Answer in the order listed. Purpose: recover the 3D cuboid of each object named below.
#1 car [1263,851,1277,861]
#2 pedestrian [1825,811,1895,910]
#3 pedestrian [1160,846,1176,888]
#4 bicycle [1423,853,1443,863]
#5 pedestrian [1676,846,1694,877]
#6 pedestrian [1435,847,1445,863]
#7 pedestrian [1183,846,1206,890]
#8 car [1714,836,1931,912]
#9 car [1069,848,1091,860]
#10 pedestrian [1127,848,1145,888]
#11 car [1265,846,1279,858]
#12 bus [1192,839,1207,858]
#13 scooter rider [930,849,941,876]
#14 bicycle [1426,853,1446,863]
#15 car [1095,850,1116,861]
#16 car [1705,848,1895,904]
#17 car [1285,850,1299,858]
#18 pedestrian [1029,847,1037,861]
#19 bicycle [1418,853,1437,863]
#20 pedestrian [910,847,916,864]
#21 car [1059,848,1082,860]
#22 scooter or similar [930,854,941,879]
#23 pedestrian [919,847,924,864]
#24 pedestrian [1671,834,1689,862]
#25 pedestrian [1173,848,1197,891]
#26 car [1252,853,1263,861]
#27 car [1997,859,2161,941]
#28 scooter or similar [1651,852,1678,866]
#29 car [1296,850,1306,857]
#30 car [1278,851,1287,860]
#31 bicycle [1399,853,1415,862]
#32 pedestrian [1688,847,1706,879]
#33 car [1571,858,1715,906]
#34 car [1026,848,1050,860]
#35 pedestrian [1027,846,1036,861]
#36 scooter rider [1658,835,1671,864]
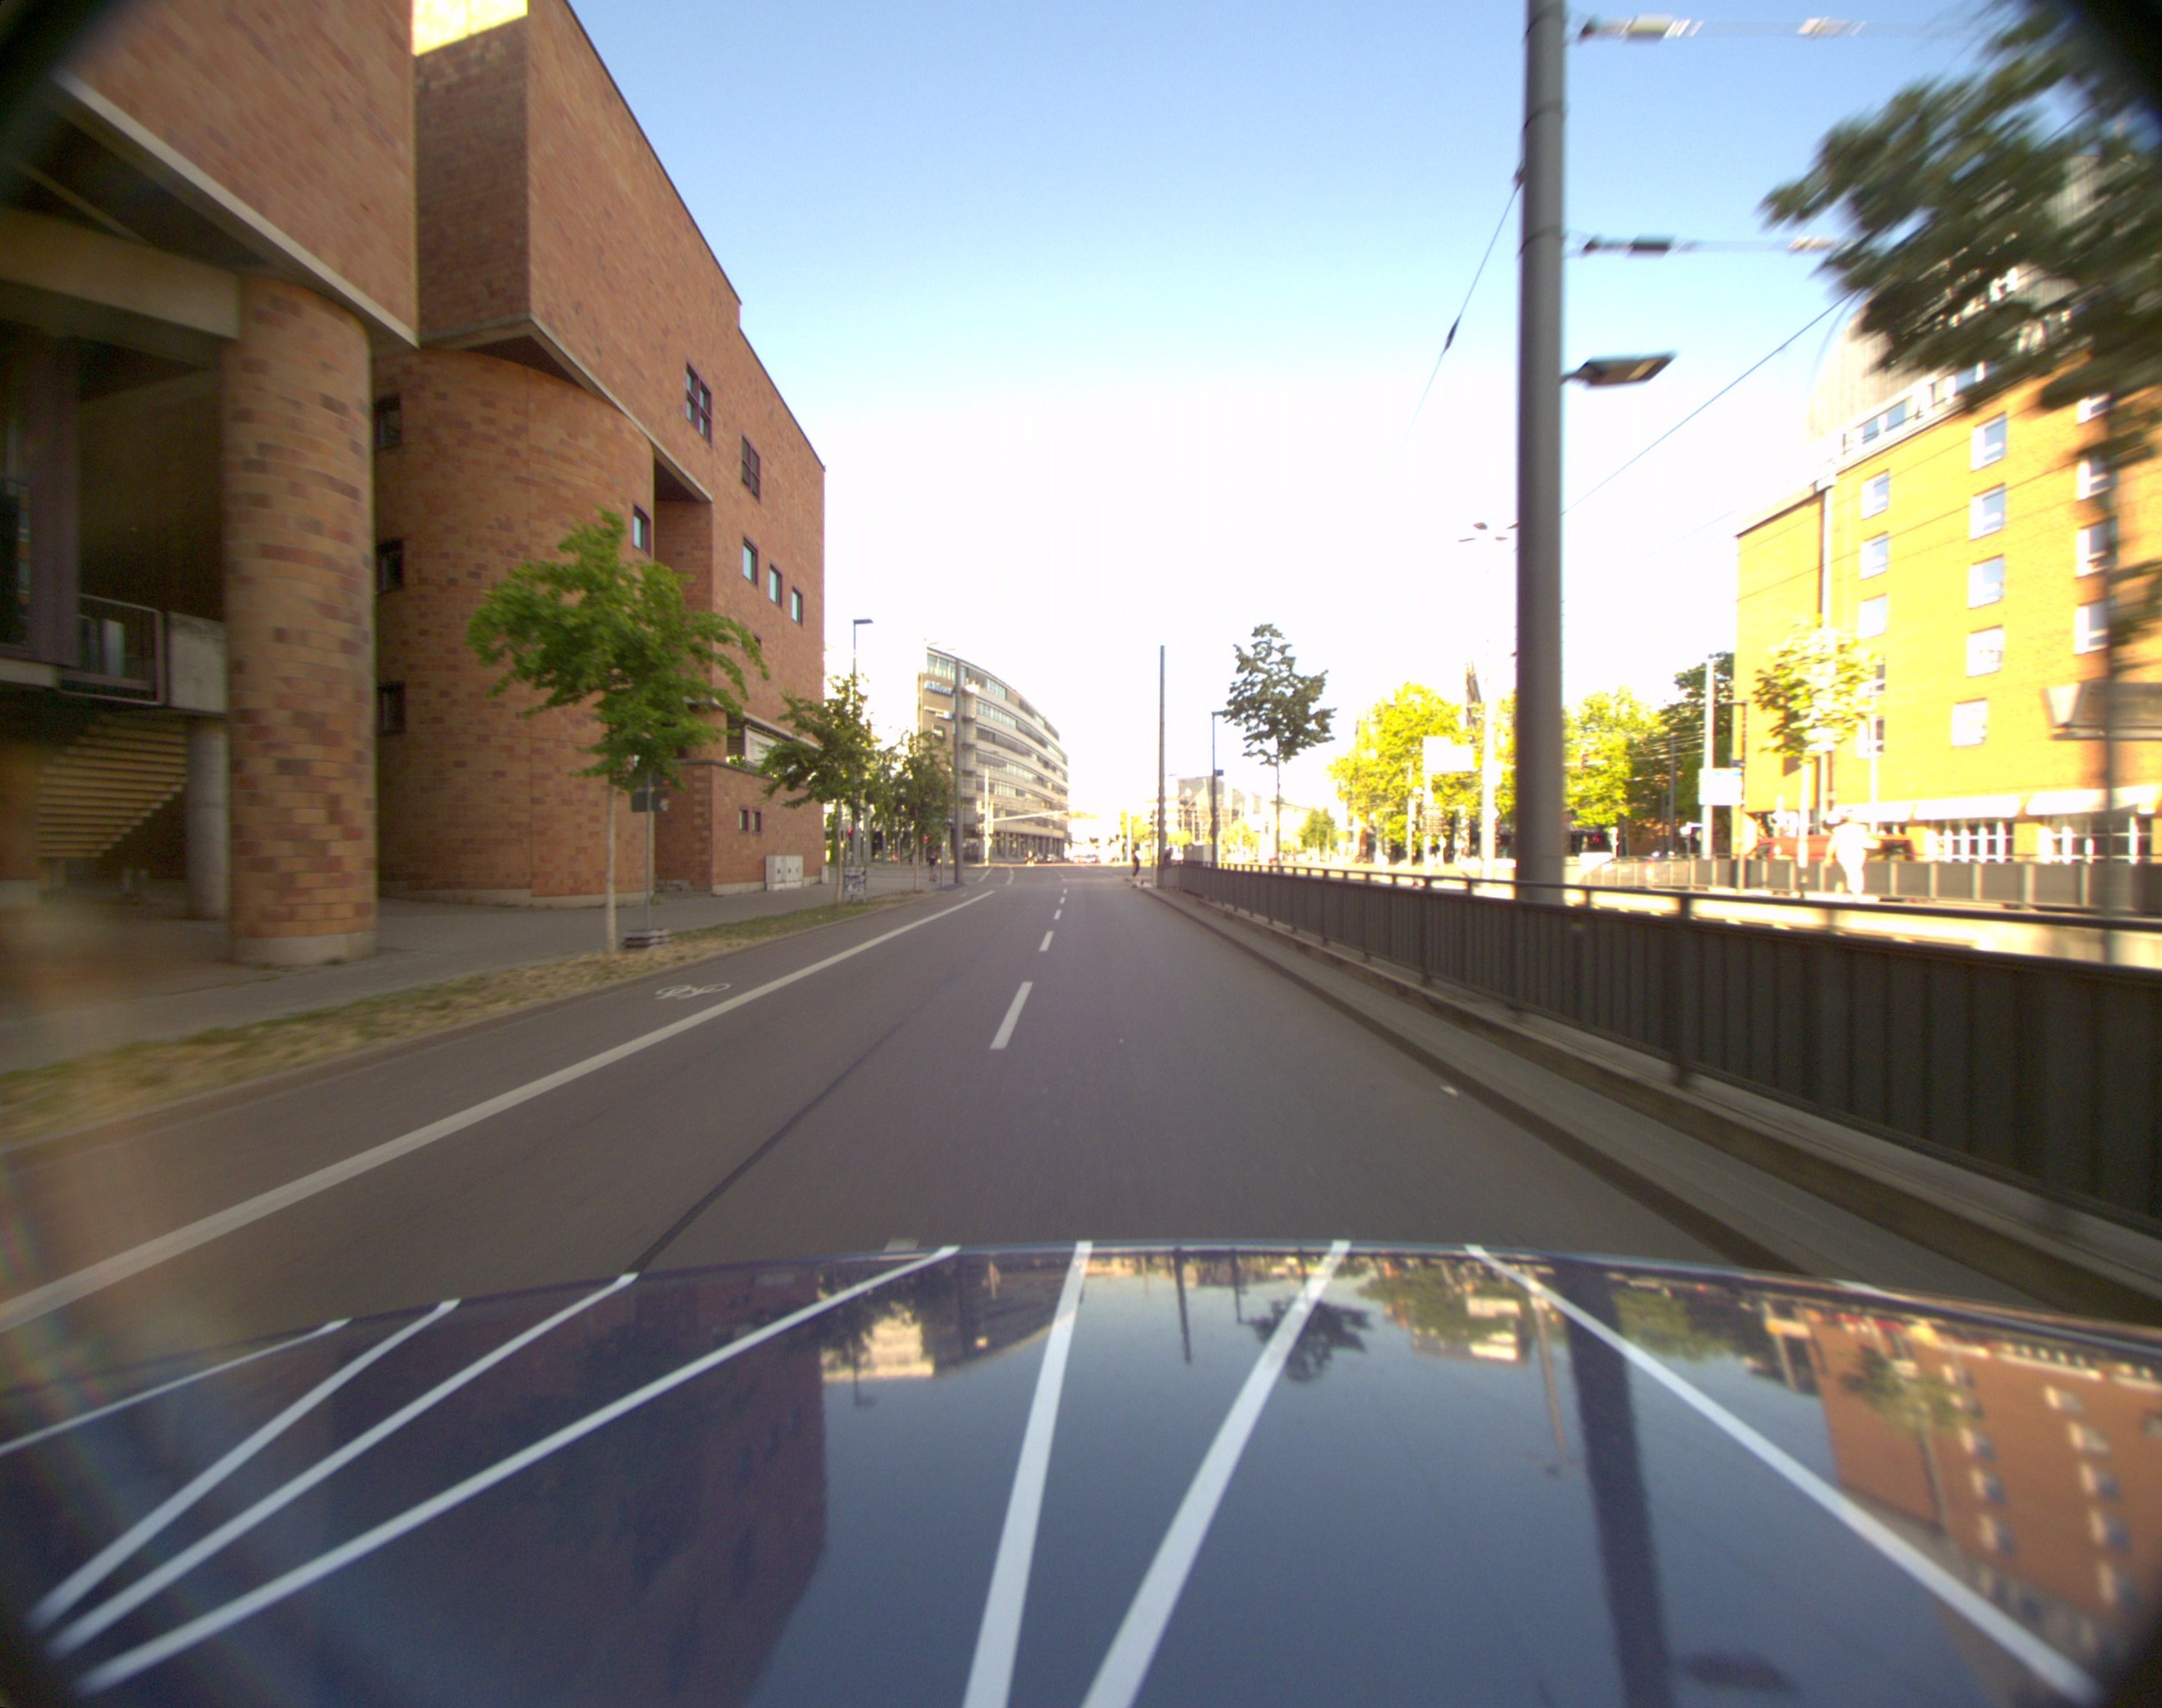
[{"bbox_3d":[27.411,0.254,110.470,1.690,1.419,4.003,0,0,10],"label":"car"},{"bbox_3d":[13.549,0.113,13.233,0.677,1.674,0.577,1,1,26],"label":"pedestrian"},{"bbox_3d":[3.206,0.470,27.964,0.490,1.530,0.552,0,1,16],"label":"pedestrian"},{"bbox_3d":[40.170,0.415,86.745,1.841,1.123,0.776,0,1,7],"label":"bicycle"},{"bbox_3d":[33.329,0.401,41.954,0.640,1.708,0.779,1,1,30],"label":"pedestrian"},{"bbox_3d":[41.827,0.128,88.570,0.891,1.754,0.732,1,0,16],"label":"pedestrian"},{"bbox_3d":[4.491,0.544,30.107,0.642,1.708,0.777,0,1,-14],"label":"pedestrian"},{"bbox_3d":[24.519,0.579,25.504,2.084,2.276,5.264,0,1,0],"label":"car"},{"bbox_3d":[-0.133,0.062,104.552,1.901,1.611,4.177,0,0,16],"label":"car"},{"bbox_3d":[2.370,0.586,32.854,0.624,1.692,0.749,0,1,-11],"label":"pedestrian"},{"bbox_3d":[39.996,-0.350,158.981,1.995,2.465,5.985,0,0,24],"label":"car"},{"bbox_3d":[22.629,-0.989,145.489,2.723,3.388,9.675,0,0,8],"label":"bus"},{"bbox_3d":[-7.923,0.447,41.432,0.507,1.452,0.721,0,1,-7],"label":"scooter rider"},{"bbox_3d":[40.099,0.407,85.878,1.841,1.123,0.776,0,1,7],"label":"bicycle"},{"bbox_3d":[3.542,0.254,109.160,1.901,1.611,4.177,0,0,16],"label":"car"},{"bbox_3d":[21.193,0.612,22.662,1.891,1.523,4.000,0,0,0],"label":"car"},{"bbox_3d":[47.328,-0.031,170.321,1.860,1.622,4.272,0,0,31],"label":"car"},{"bbox_3d":[-5.679,-0.011,90.730,0.845,1.678,0.648,0,1,5],"label":"pedestrian"},{"bbox_3d":[40.388,0.432,88.673,1.841,1.123,0.776,0,1,7],"label":"bicycle"},{"bbox_3d":[-18.395,0.136,83.112,0.589,1.813,0.544,0,1,-12],"label":"pedestrian"},{"bbox_3d":[-1.396,-0.007,100.336,1.901,1.611,3.871,0,0,16],"label":"car"},{"bbox_3d":[-7.919,0.668,41.366,0.529,1.310,1.131,0,1,-7],"label":"scooter or similar"},{"bbox_3d":[-17.519,0.139,83.321,0.547,1.813,0.374,0,1,-12],"label":"pedestrian"},{"bbox_3d":[40.521,-0.394,51.392,0.744,1.884,0.648,0,1,14],"label":"pedestrian"},{"bbox_3d":[3.800,0.537,27.655,0.714,1.530,0.853,0,1,17],"label":"pedestrian"},{"bbox_3d":[30.024,0.505,129.267,1.633,1.443,4.003,0,0,10],"label":"car"},{"bbox_3d":[20.947,0.864,14.581,1.891,1.523,4.000,0,0,0],"label":"car"},{"bbox_3d":[35.445,0.305,46.150,1.235,0.826,0.546,1,1,33],"label":"scooter or similar"},{"bbox_3d":[47.906,-0.105,165.429,1.861,1.622,4.269,0,0,20],"label":"car"},{"bbox_3d":[45.972,0.313,173.260,1.608,2.002,3.892,0,1,21],"label":"car"},{"bbox_3d":[38.664,0.402,90.173,1.696,1.030,0.549,0,1,11],"label":"bicycle"},{"bbox_3d":[33.200,0.483,40.965,0.640,1.708,0.779,1,1,30],"label":"pedestrian"},{"bbox_3d":[18.292,0.872,24.982,1.762,1.439,4.000,0,0,0],"label":"car"},{"bbox_3d":[-5.787,0.021,103.402,1.901,1.611,4.177,0,0,16],"label":"car"},{"bbox_3d":[-5.899,-0.088,90.030,0.965,1.832,0.699,0,1,6],"label":"pedestrian"},{"bbox_3d":[35.463,-0.280,46.147,0.569,1.745,0.535,1,1,34],"label":"scooter rider"}]
